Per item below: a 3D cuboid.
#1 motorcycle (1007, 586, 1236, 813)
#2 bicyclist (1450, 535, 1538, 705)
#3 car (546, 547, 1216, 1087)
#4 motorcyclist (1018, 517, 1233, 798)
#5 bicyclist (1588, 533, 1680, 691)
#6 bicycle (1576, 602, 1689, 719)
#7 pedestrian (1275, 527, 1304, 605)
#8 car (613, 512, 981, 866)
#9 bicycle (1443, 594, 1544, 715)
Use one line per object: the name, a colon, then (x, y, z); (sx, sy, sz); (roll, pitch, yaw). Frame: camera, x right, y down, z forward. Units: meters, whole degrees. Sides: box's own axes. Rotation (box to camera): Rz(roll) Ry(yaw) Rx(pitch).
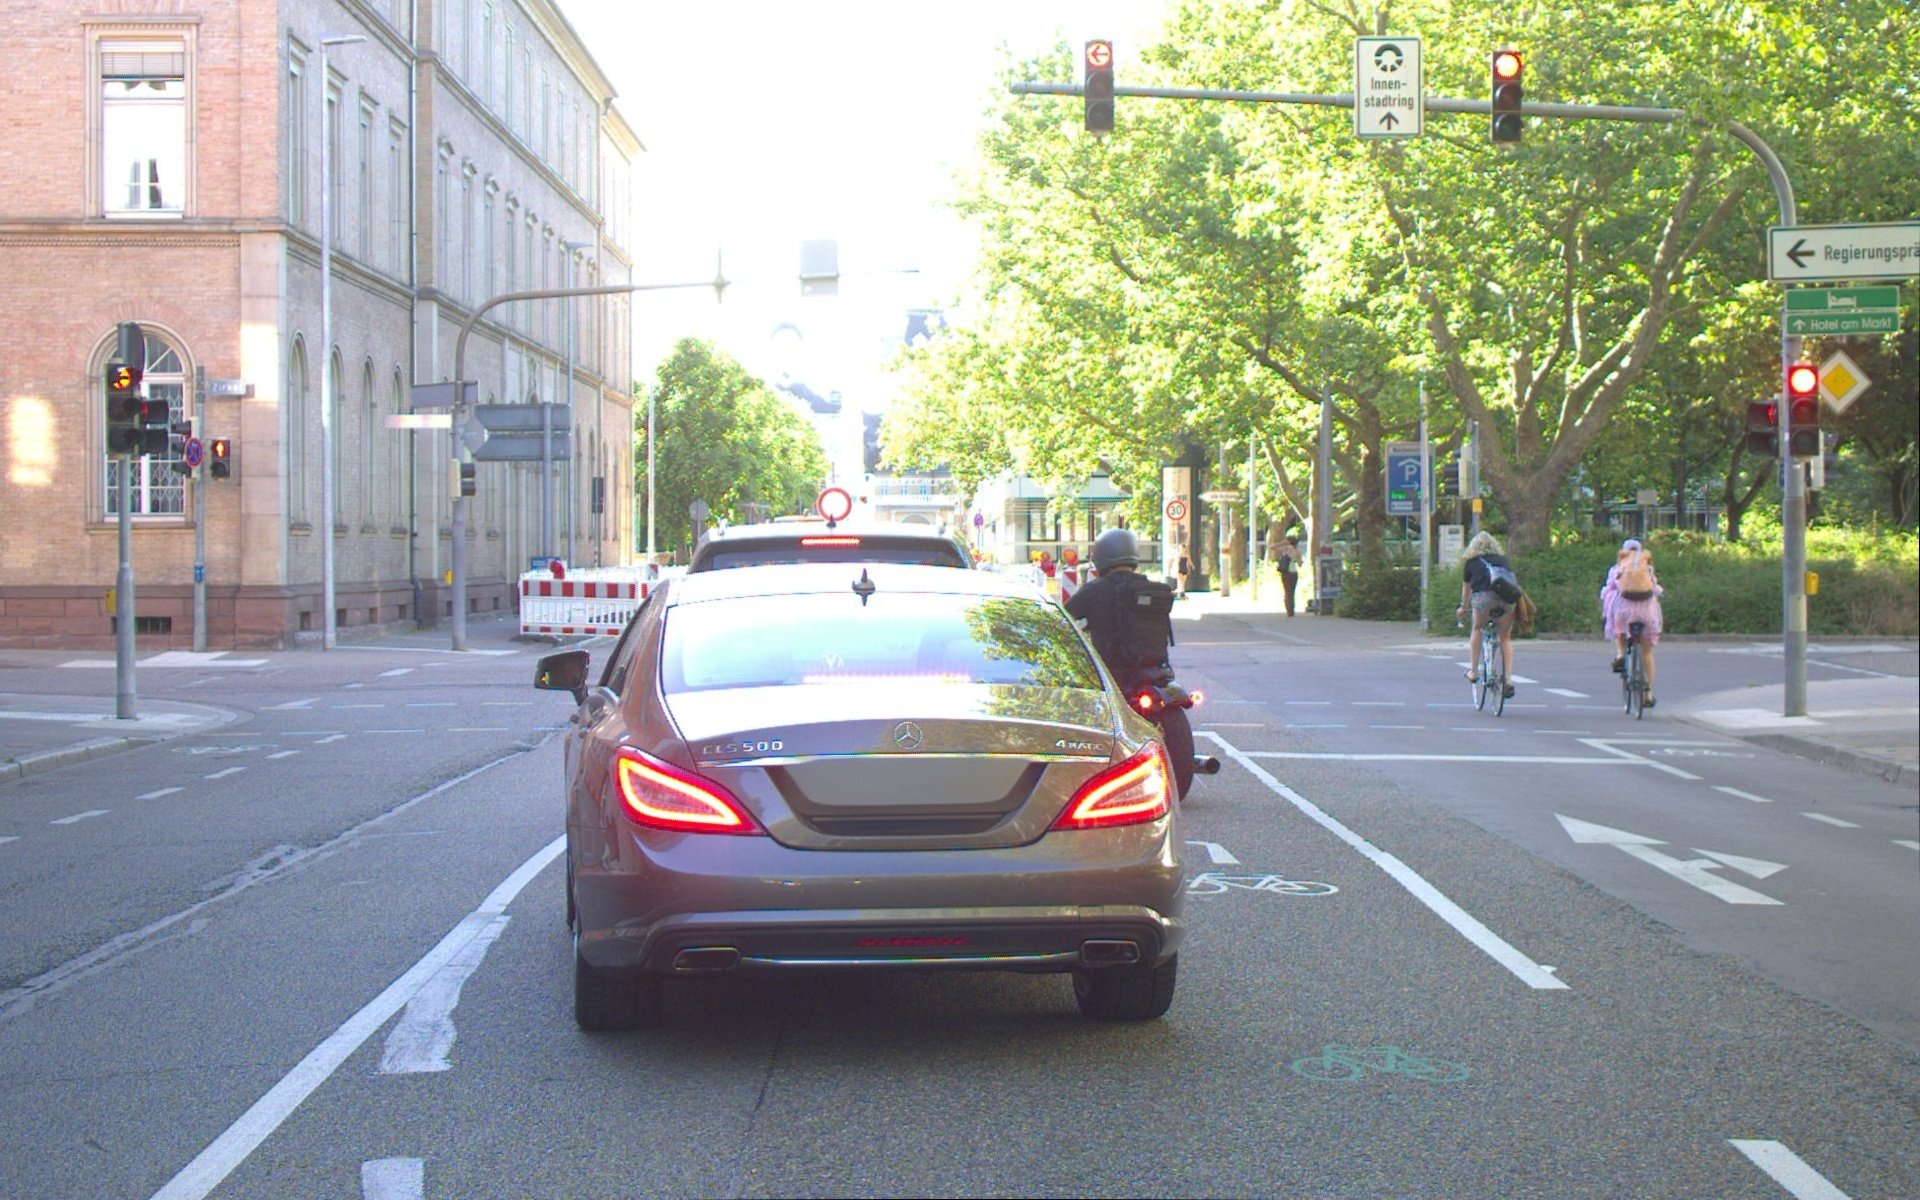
motorcycle: (0.906, 0.540, 20.205); (1.007, 1.200, 2.665); (0, 1, -5)
bicyclist: (4.857, 0.175, 31.302); (0.610, 1.511, 0.890); (2, 1, -1)
car: (-0.467, 0.558, 11.638); (1.821, 1.471, 4.354); (0, 1, -7)
motorcyclist: (0.961, 0.321, 20.297); (1.113, 1.607, 1.202); (0, 1, -5)
bicyclist: (6.113, 0.098, 31.208); (0.600, 1.397, 0.931); (2, 1, -1)
bicycle: (6.096, 0.533, 31.239); (0.600, 0.981, 1.881); (2, 1, -1)
pedestrian: (7.045, -0.734, 73.614); (0.559, 1.672, 0.565); (0, 1, -1)
car: (-0.806, 0.378, 17.668); (1.681, 1.619, 3.841); (0, 1, -2)
bicycle: (4.847, 0.483, 31.320); (0.610, 1.023, 1.731); (2, 1, -1)
